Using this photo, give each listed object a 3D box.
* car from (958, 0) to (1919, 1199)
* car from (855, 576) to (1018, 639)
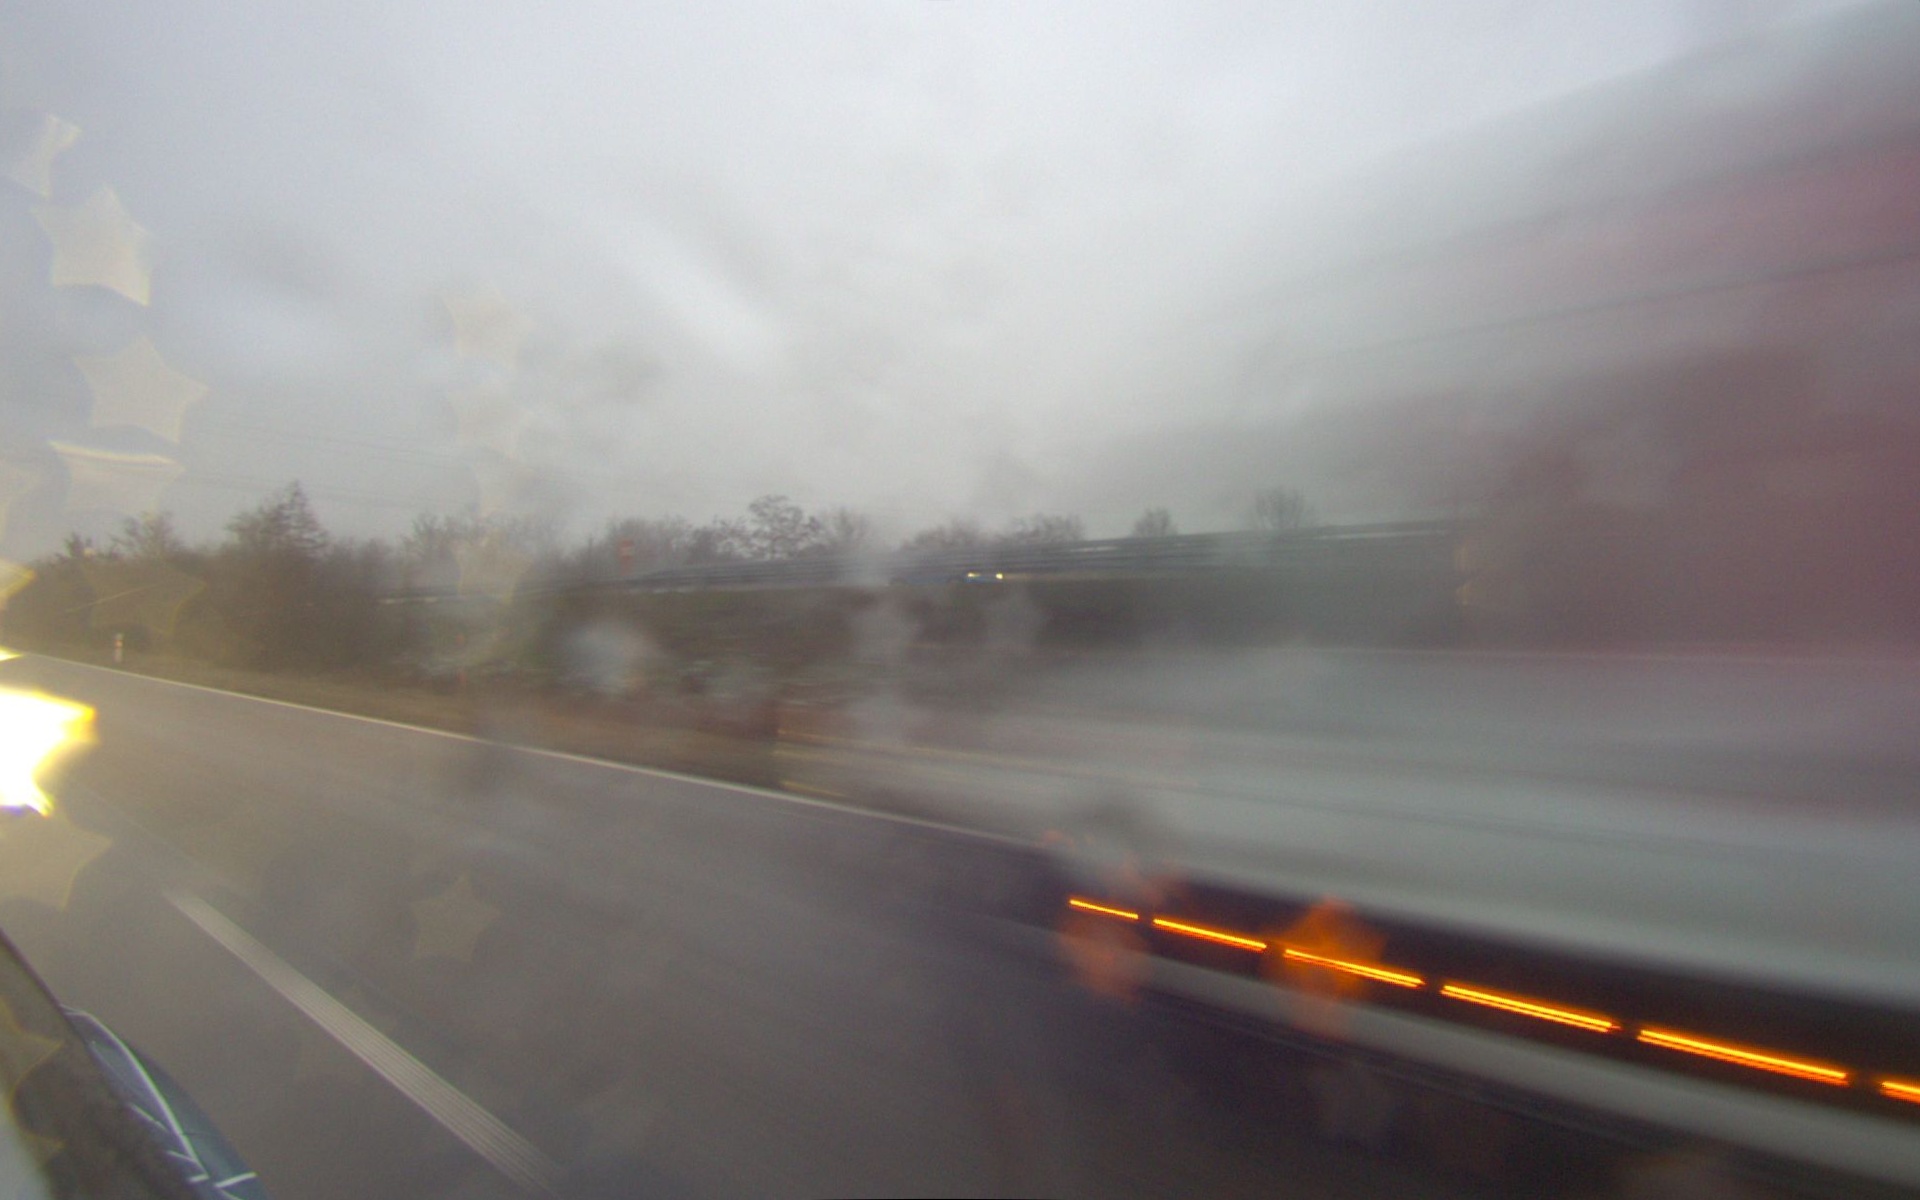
[{"bbox_3d":[2.994,0.044,1.881,6.268,2.695,1.932,-1,-1,41],"label":"car"},{"bbox_3d":[-0.898,0.257,35.217,5.600,2.029,2.288,-1,0,41],"label":"car"}]
